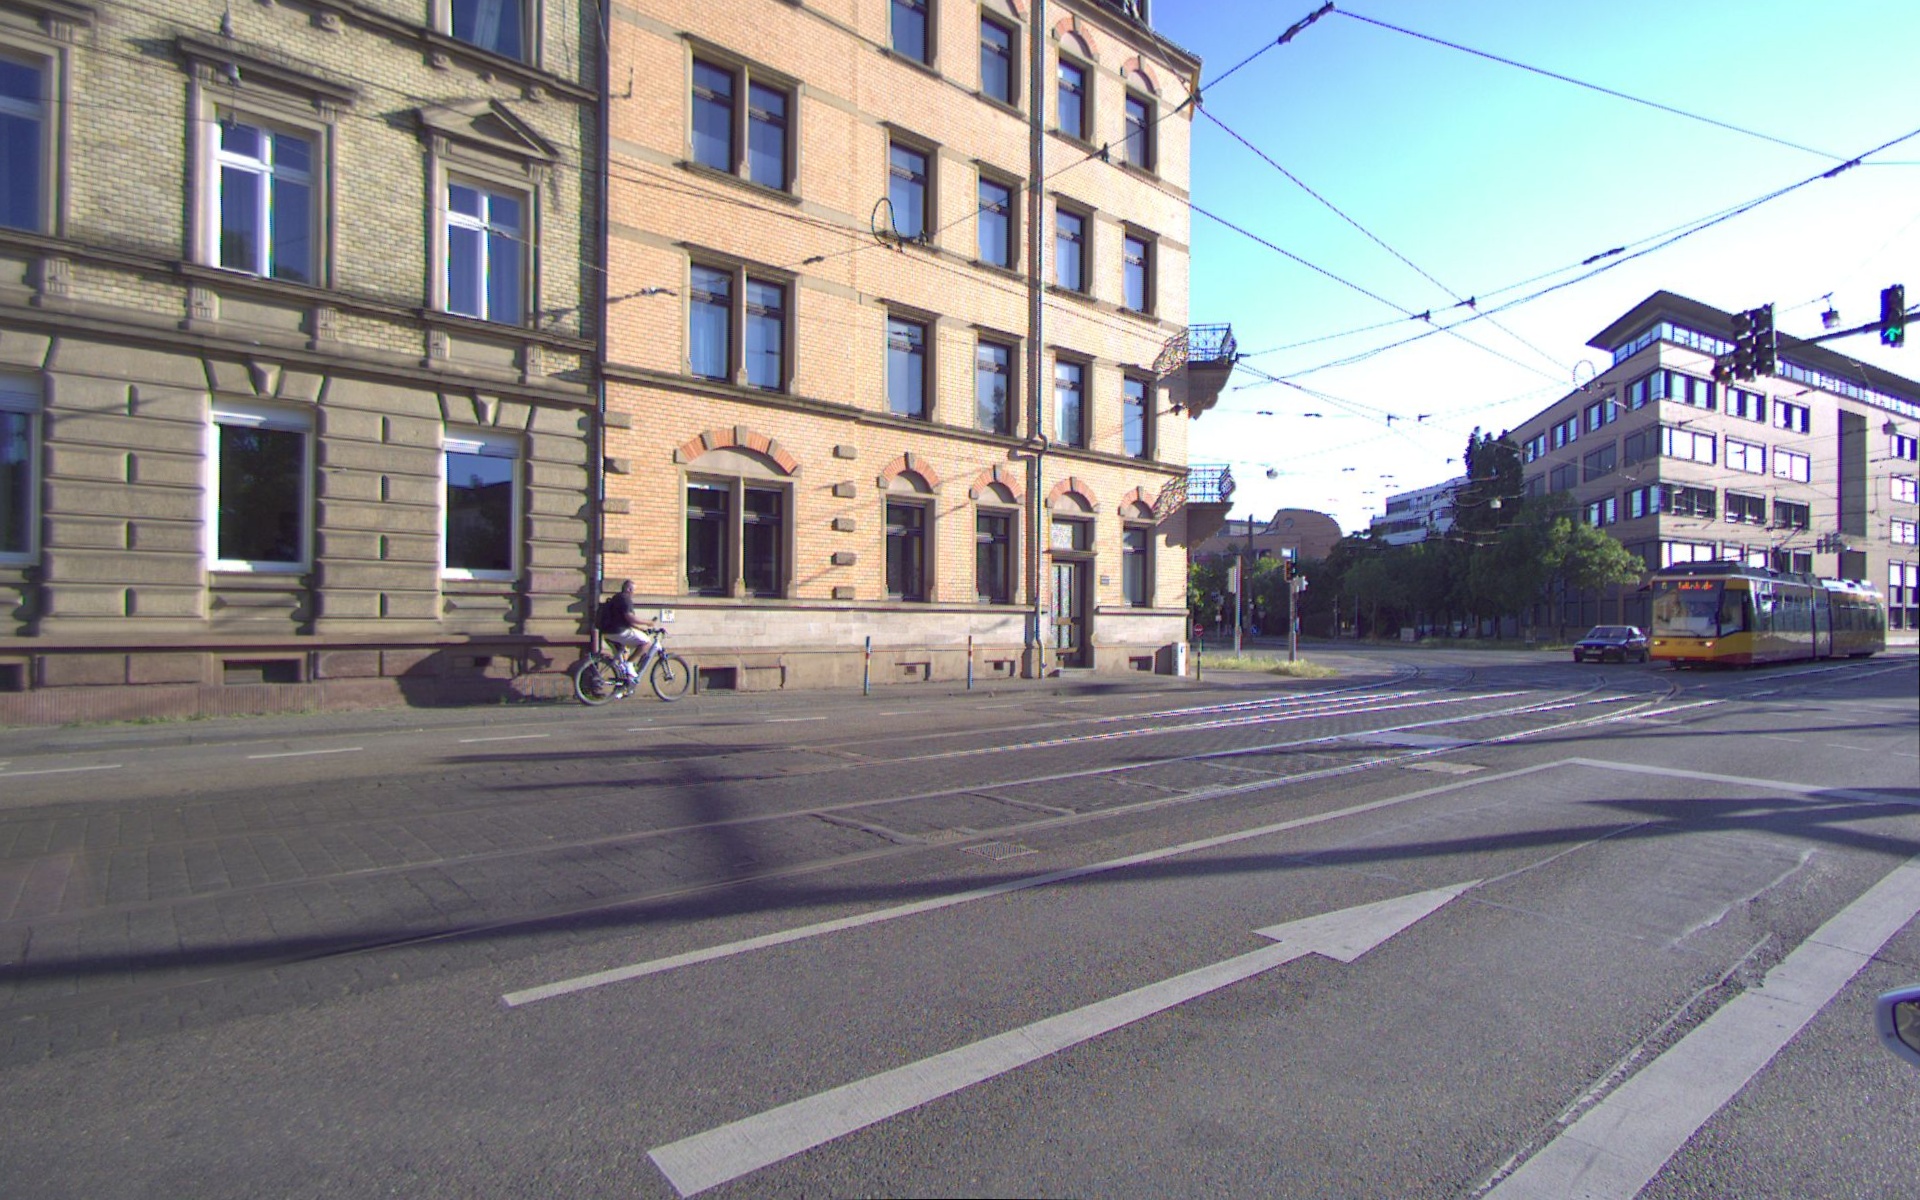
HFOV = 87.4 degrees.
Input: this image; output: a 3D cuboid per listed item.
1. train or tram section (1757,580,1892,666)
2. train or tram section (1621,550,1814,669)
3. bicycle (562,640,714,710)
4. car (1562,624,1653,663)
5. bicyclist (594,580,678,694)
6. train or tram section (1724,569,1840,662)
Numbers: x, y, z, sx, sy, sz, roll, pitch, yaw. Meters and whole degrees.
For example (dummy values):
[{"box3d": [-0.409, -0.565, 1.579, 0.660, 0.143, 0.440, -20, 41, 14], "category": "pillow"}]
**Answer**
[{"box3d": [40.051, 1.076, 46.362, 11.201, 3.554, 2.838, 1, -2, -39], "category": "train or tram section"}, {"box3d": [26.925, 0.442, 35.312, 12.913, 3.554, 2.836, 2, -2, -41], "category": "train or tram section"}, {"box3d": [-4.759, 1.079, 14.934, 2.070, 0.952, 0.641, 1, -2, -39], "category": "bicycle"}, {"box3d": [24.503, 1.629, 37.976, 4.129, 1.398, 1.794, 1, -2, -40], "category": "car"}, {"box3d": [-4.826, 0.547, 14.961, 1.027, 1.634, 0.630, 1, -1, -39], "category": "bicyclist"}, {"box3d": [33.786, 0.669, 41.249, 5.262, 3.554, 2.836, 1, -2, -41], "category": "train or tram section"}]
